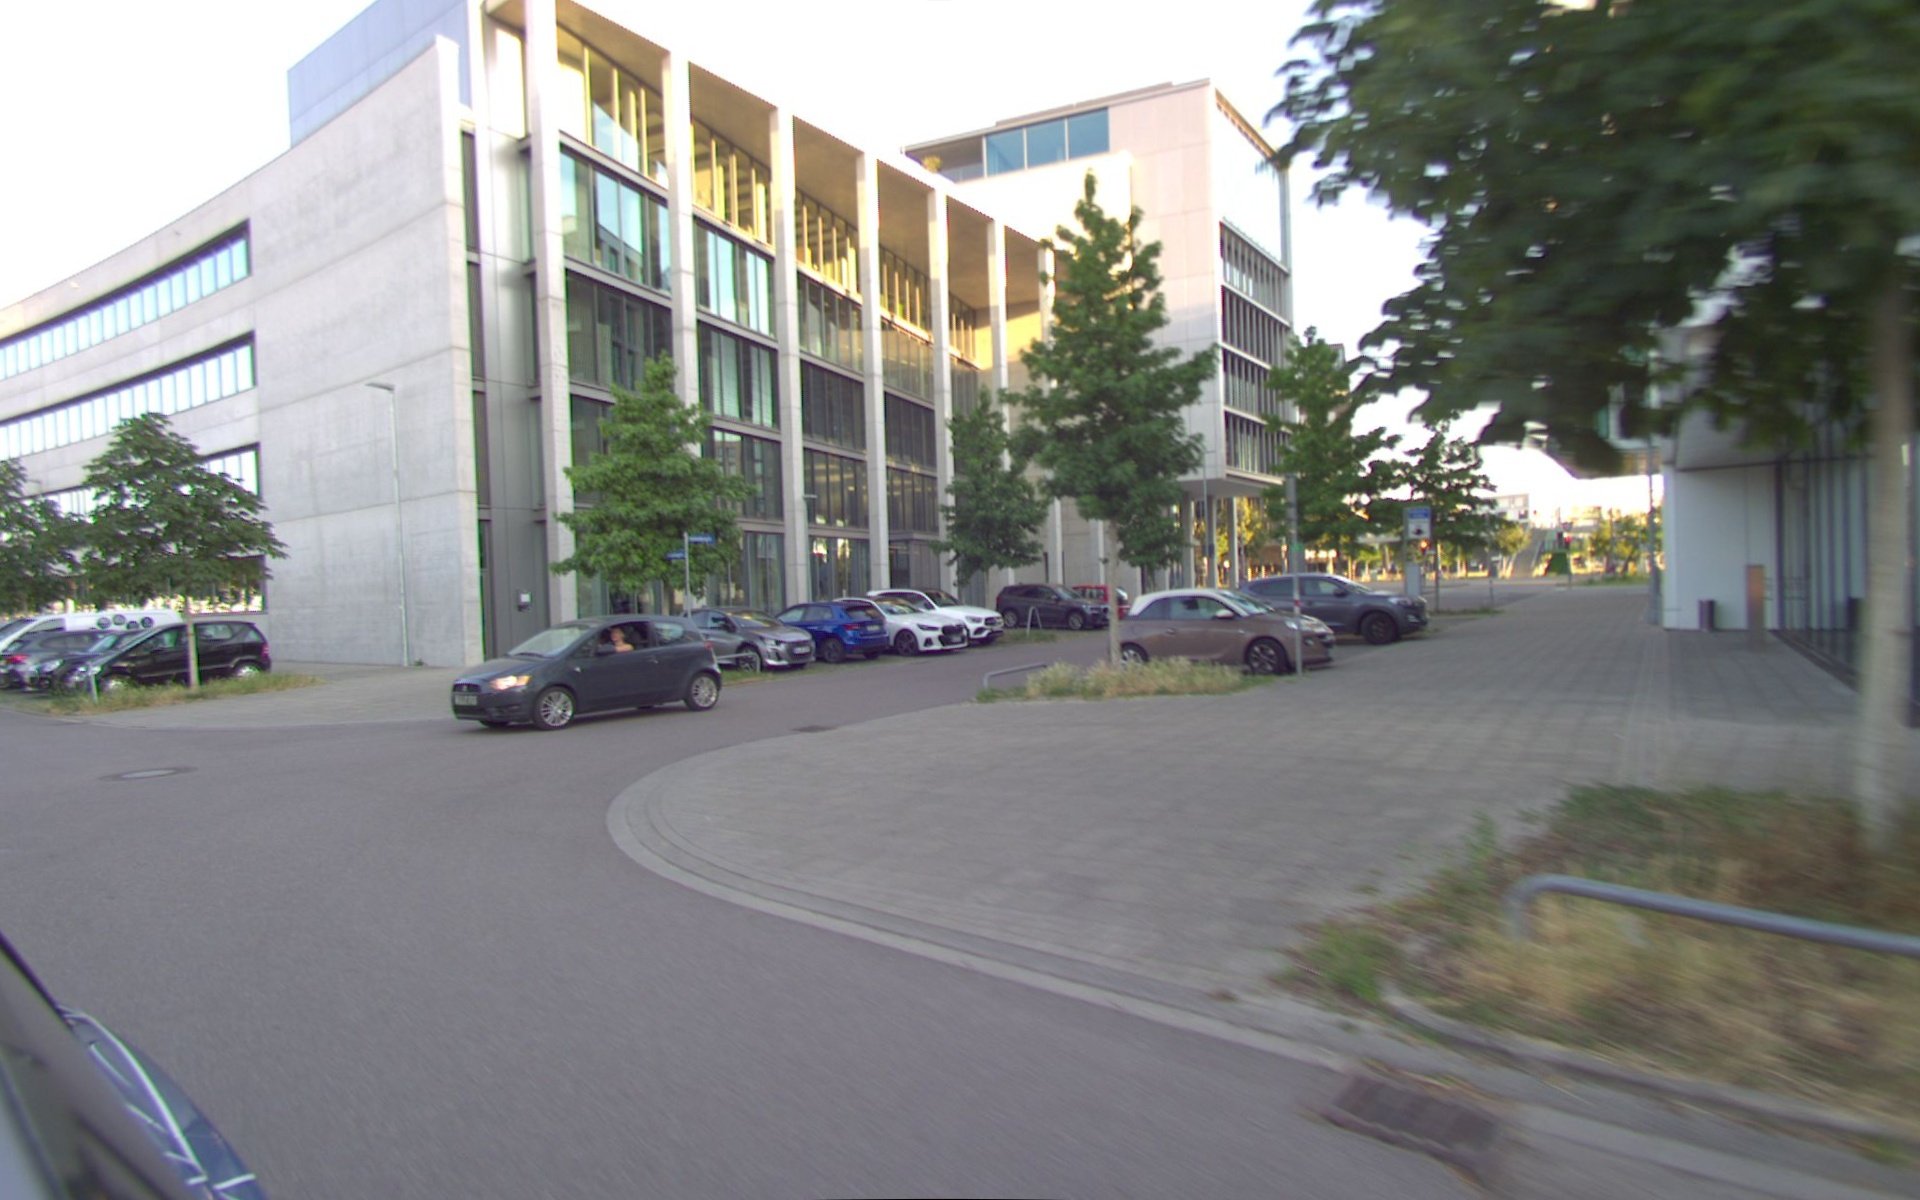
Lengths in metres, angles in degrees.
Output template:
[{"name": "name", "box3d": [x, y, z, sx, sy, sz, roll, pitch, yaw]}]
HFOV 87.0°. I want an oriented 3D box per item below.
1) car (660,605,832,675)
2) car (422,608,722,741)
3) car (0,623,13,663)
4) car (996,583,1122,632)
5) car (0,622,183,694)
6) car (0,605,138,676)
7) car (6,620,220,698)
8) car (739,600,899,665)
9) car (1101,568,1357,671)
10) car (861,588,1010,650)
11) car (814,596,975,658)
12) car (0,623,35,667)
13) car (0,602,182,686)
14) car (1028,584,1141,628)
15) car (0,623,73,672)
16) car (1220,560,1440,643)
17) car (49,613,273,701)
[{"name": "car", "box3d": [-4.906, 0.851, 23.032, 3.808, 1.396, 1.631, 0, 2, 34]}, {"name": "car", "box3d": [-5.392, 0.948, 14.471, 1.646, 1.506, 3.692, -2, 1, 35]}, {"name": "car", "box3d": [-34.690, 1.613, 34.060, 1.794, 1.370, 3.771, -2, 2, 34]}, {"name": "car", "box3d": [3.426, 0.227, 35.338, 4.125, 1.585, 1.631, 0, 2, 34]}, {"name": "car", "box3d": [-22.214, 1.407, 25.656, 1.723, 1.434, 3.612, -2, 2, 38]}, {"name": "car", "box3d": [-28.243, 1.260, 30.465, 1.884, 1.840, 5.028, -2, 2, 33]}, {"name": "car", "box3d": [-20.124, 1.339, 24.155, 1.724, 1.434, 3.610, -1, 3, 39]}, {"name": "car", "box3d": [-3.539, 0.757, 25.142, 3.893, 1.439, 1.544, 0, 2, 34]}, {"name": "car", "box3d": [4.422, 0.326, 16.790, 3.715, 1.507, 1.710, -2, 1, 35]}, {"name": "car", "box3d": [-0.744, 0.496, 29.180, 4.125, 1.640, 1.631, 0, 2, 34]}, {"name": "car", "box3d": [-1.770, 0.658, 26.782, 4.125, 1.503, 1.631, 0, 2, 34]}, {"name": "car", "box3d": [-32.657, 1.594, 32.674, 1.794, 1.370, 3.771, -2, 2, 34]}, {"name": "car", "box3d": [-24.409, 1.186, 27.305, 1.884, 1.894, 5.028, -2, 2, 33]}, {"name": "car", "box3d": [4.605, 0.188, 37.544, 3.847, 1.516, 1.631, 0, 2, 34]}, {"name": "car", "box3d": [-30.208, 1.555, 31.305, 1.794, 1.370, 3.771, -2, 2, 34]}, {"name": "car", "box3d": [8.313, 0.056, 22.909, 4.362, 1.664, 1.710, -2, 1, 35]}, {"name": "car", "box3d": [-17.877, 1.205, 22.761, 1.724, 1.559, 3.610, -1, 3, 39]}]
